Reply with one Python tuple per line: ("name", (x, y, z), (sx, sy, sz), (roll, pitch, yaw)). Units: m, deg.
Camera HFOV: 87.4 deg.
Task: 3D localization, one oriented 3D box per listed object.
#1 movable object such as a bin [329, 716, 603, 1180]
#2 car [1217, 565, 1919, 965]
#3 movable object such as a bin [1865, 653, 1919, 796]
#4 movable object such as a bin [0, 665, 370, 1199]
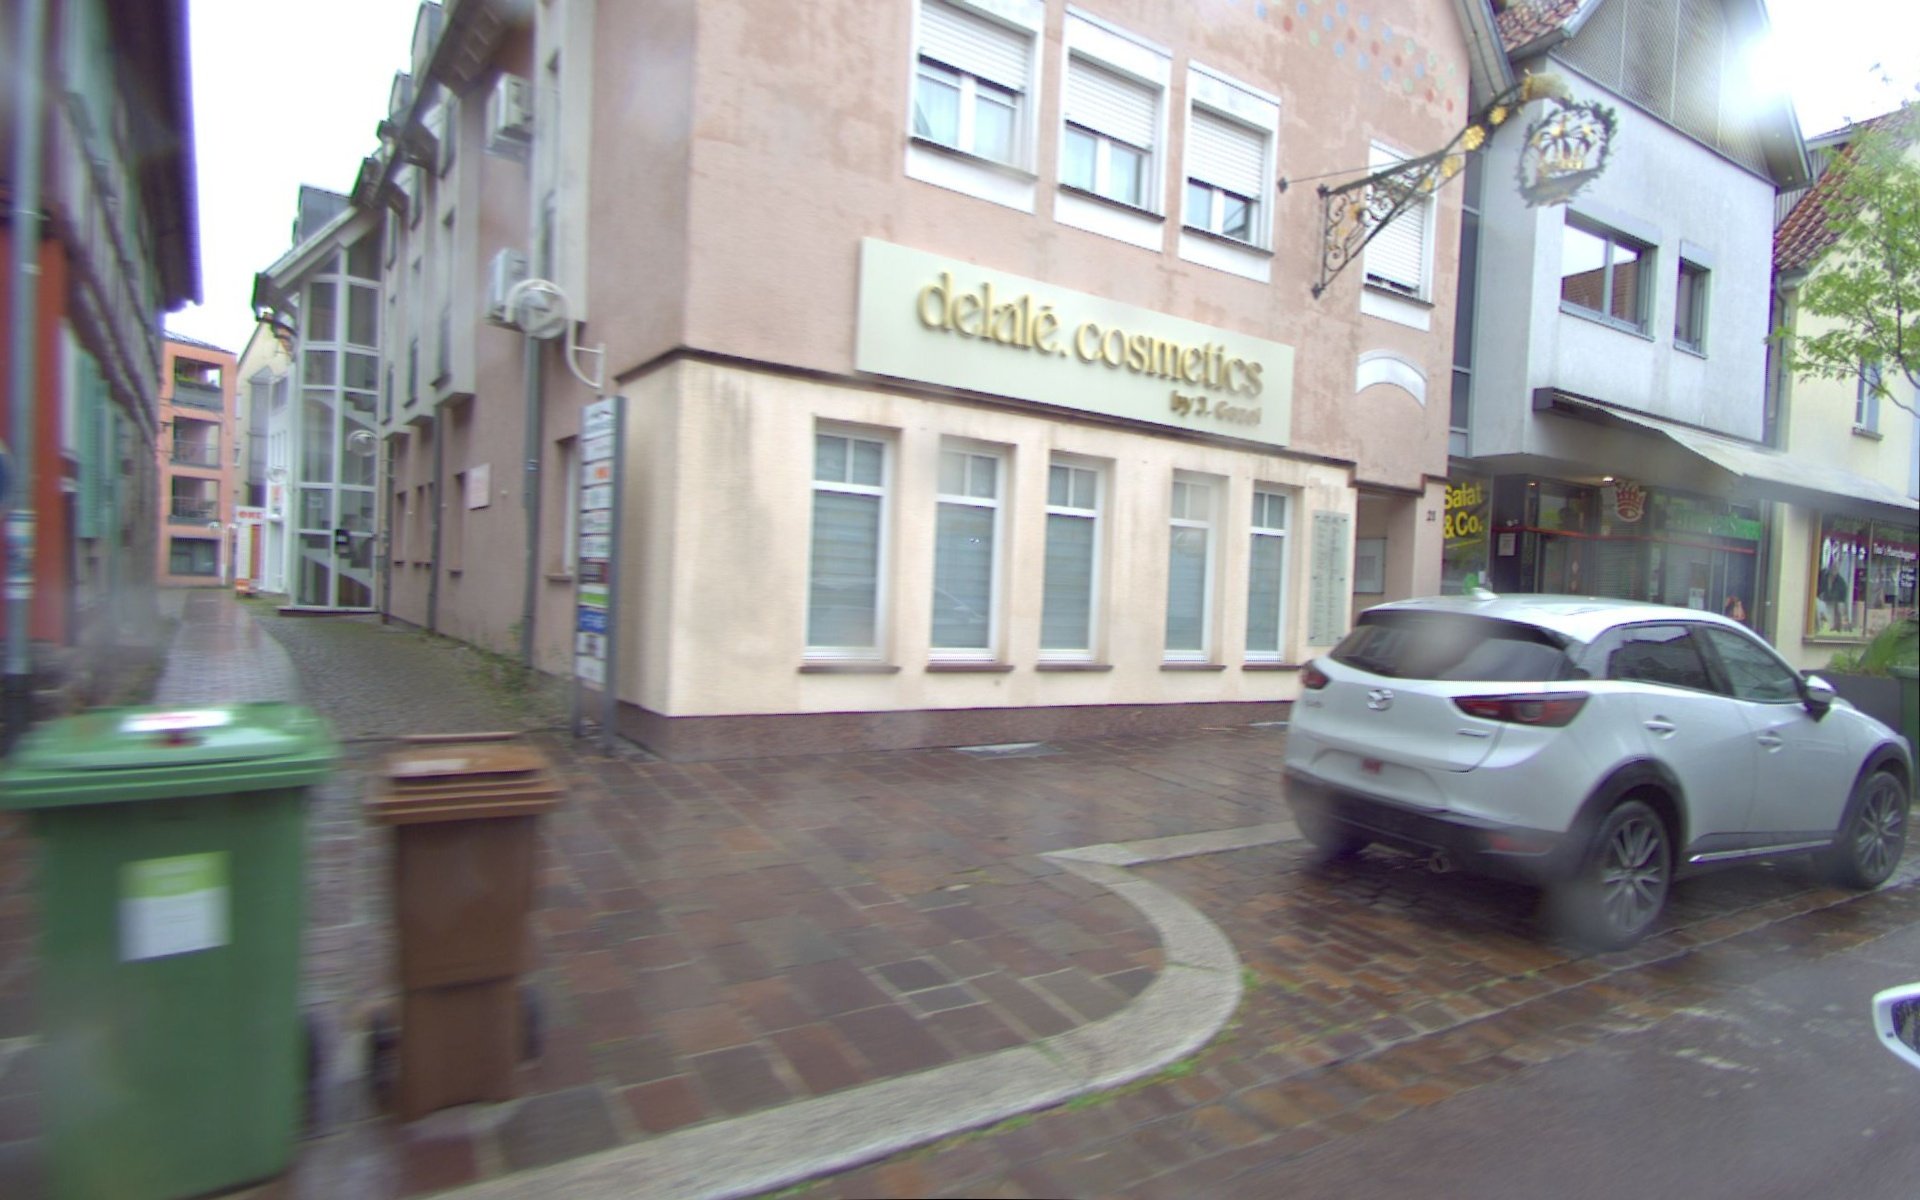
("movable object such as a bin", (-1.318, 0.840, 2.703), (0.555, 0.968, 0.654), (2, 0, -28))
("car", (3.610, 0.718, 5.757), (3.952, 1.587, 1.819), (3, 0, -30))
("movable object such as a bin", (8.001, 1.024, 8.169), (0.604, 1.121, 0.809), (2, 0, -35))
("movable object such as a bin", (-1.867, 0.734, 2.355), (0.754, 1.097, 0.744), (2, 0, -28))
